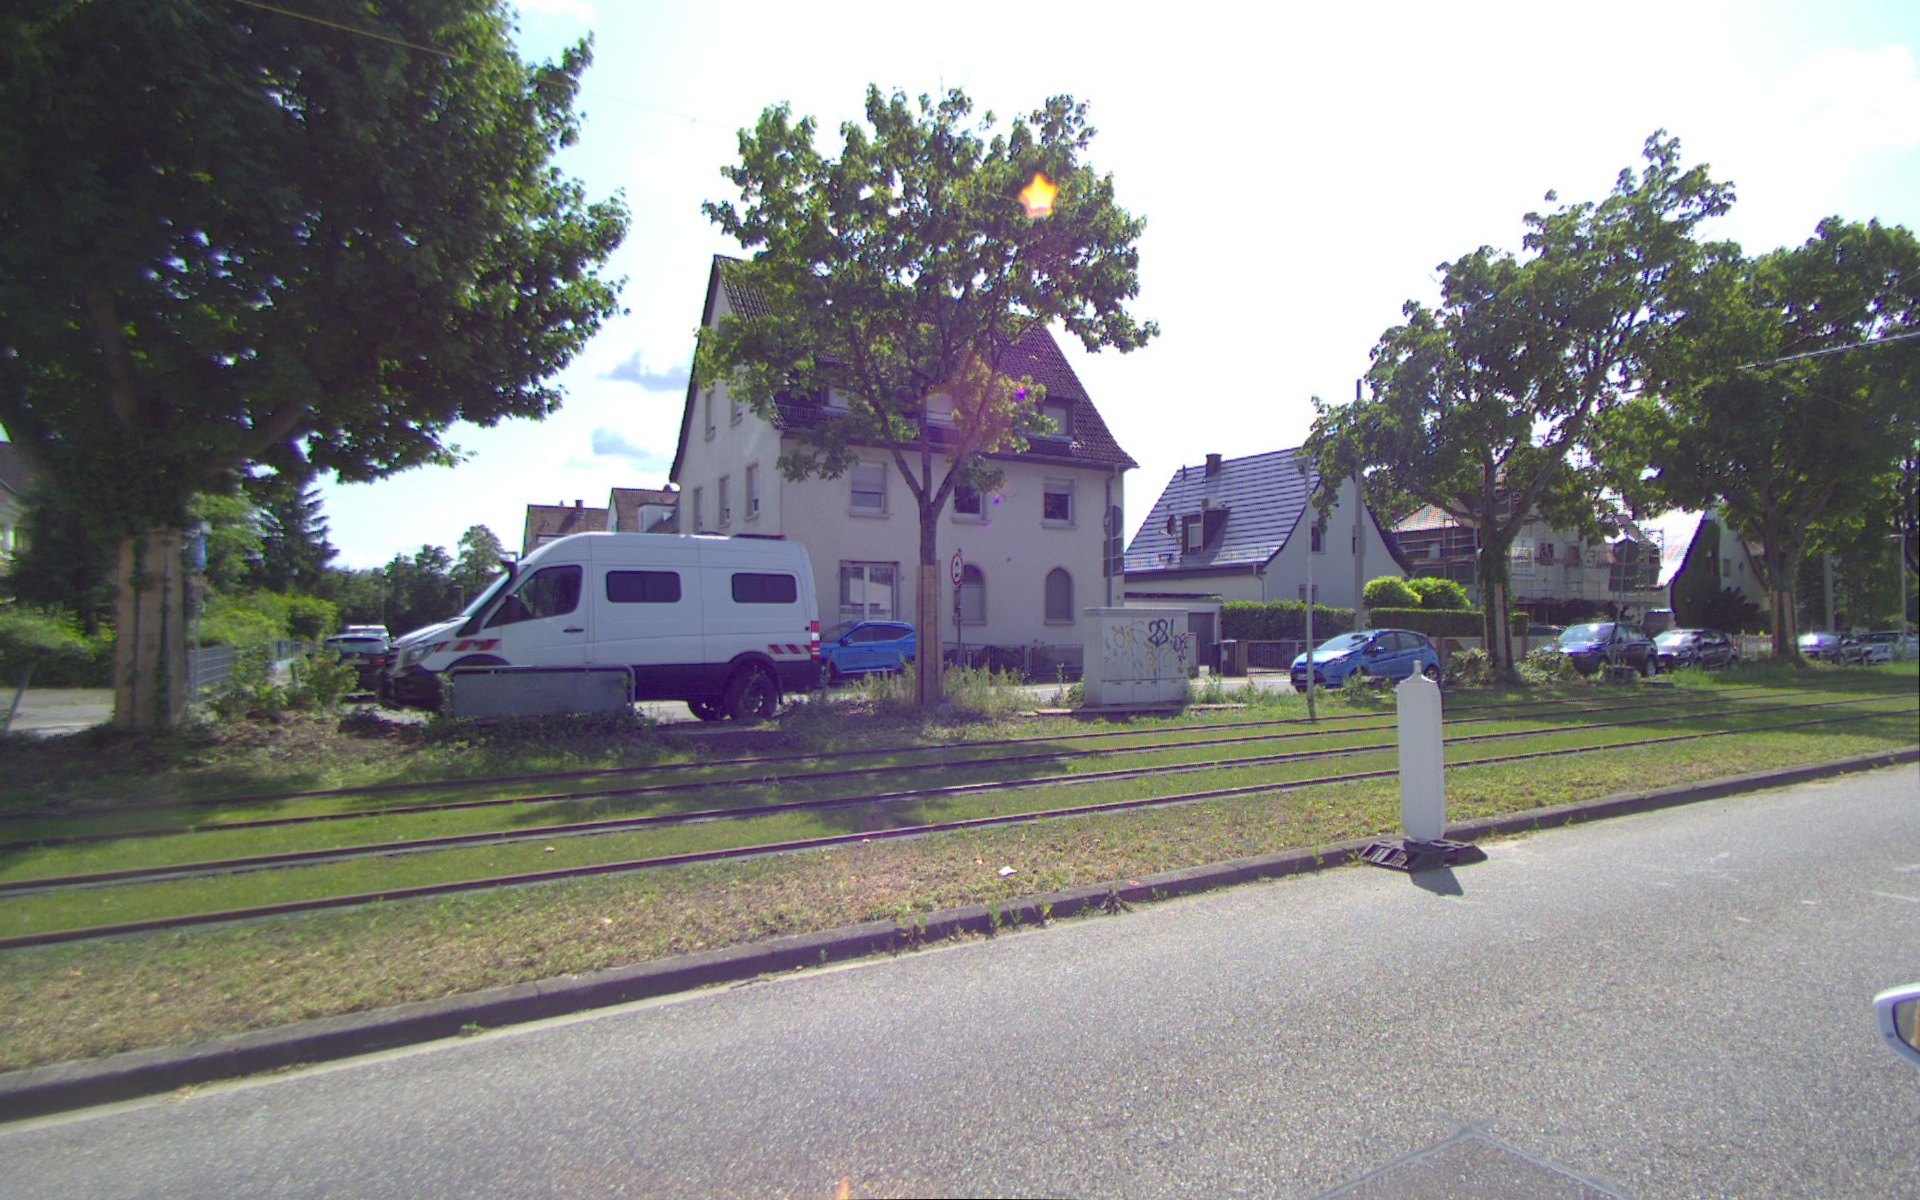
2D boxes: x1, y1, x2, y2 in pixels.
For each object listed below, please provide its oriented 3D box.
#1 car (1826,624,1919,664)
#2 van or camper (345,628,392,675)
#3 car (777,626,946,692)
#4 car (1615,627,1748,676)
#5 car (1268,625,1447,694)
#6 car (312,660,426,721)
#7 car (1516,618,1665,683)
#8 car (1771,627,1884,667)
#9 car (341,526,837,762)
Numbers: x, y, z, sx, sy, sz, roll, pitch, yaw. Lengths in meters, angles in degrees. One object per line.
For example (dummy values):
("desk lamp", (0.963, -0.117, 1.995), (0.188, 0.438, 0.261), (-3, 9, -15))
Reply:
("car", (36.343, 1.742, 39.651), (4.882, 1.502, 1.796), (1, -3, -31))
("van or camper", (-28.334, 2.455, 48.191), (1.746, 2.128, 4.208), (1, -3, -28))
("car", (-2.536, 1.497, 25.981), (3.953, 1.598, 1.894), (1, -3, -31))
("car", (22.814, 1.637, 31.764), (3.954, 1.457, 1.984), (1, -4, -31))
("car", (9.112, 1.328, 22.993), (3.841, 1.454, 1.747), (1, -3, -29))
("car", (-13.189, 1.953, 22.499), (2.022, 1.176, 3.969), (1, -3, -30))
("car", (17.887, 1.409, 28.458), (4.346, 1.713, 1.982), (1, -3, -34))
("car", (31.633, 1.706, 36.635), (3.808, 1.334, 1.985), (1, -5, -31))
("car", (-5.095, 0.574, 14.377), (6.392, 2.766, 1.983), (0, -3, -33))
